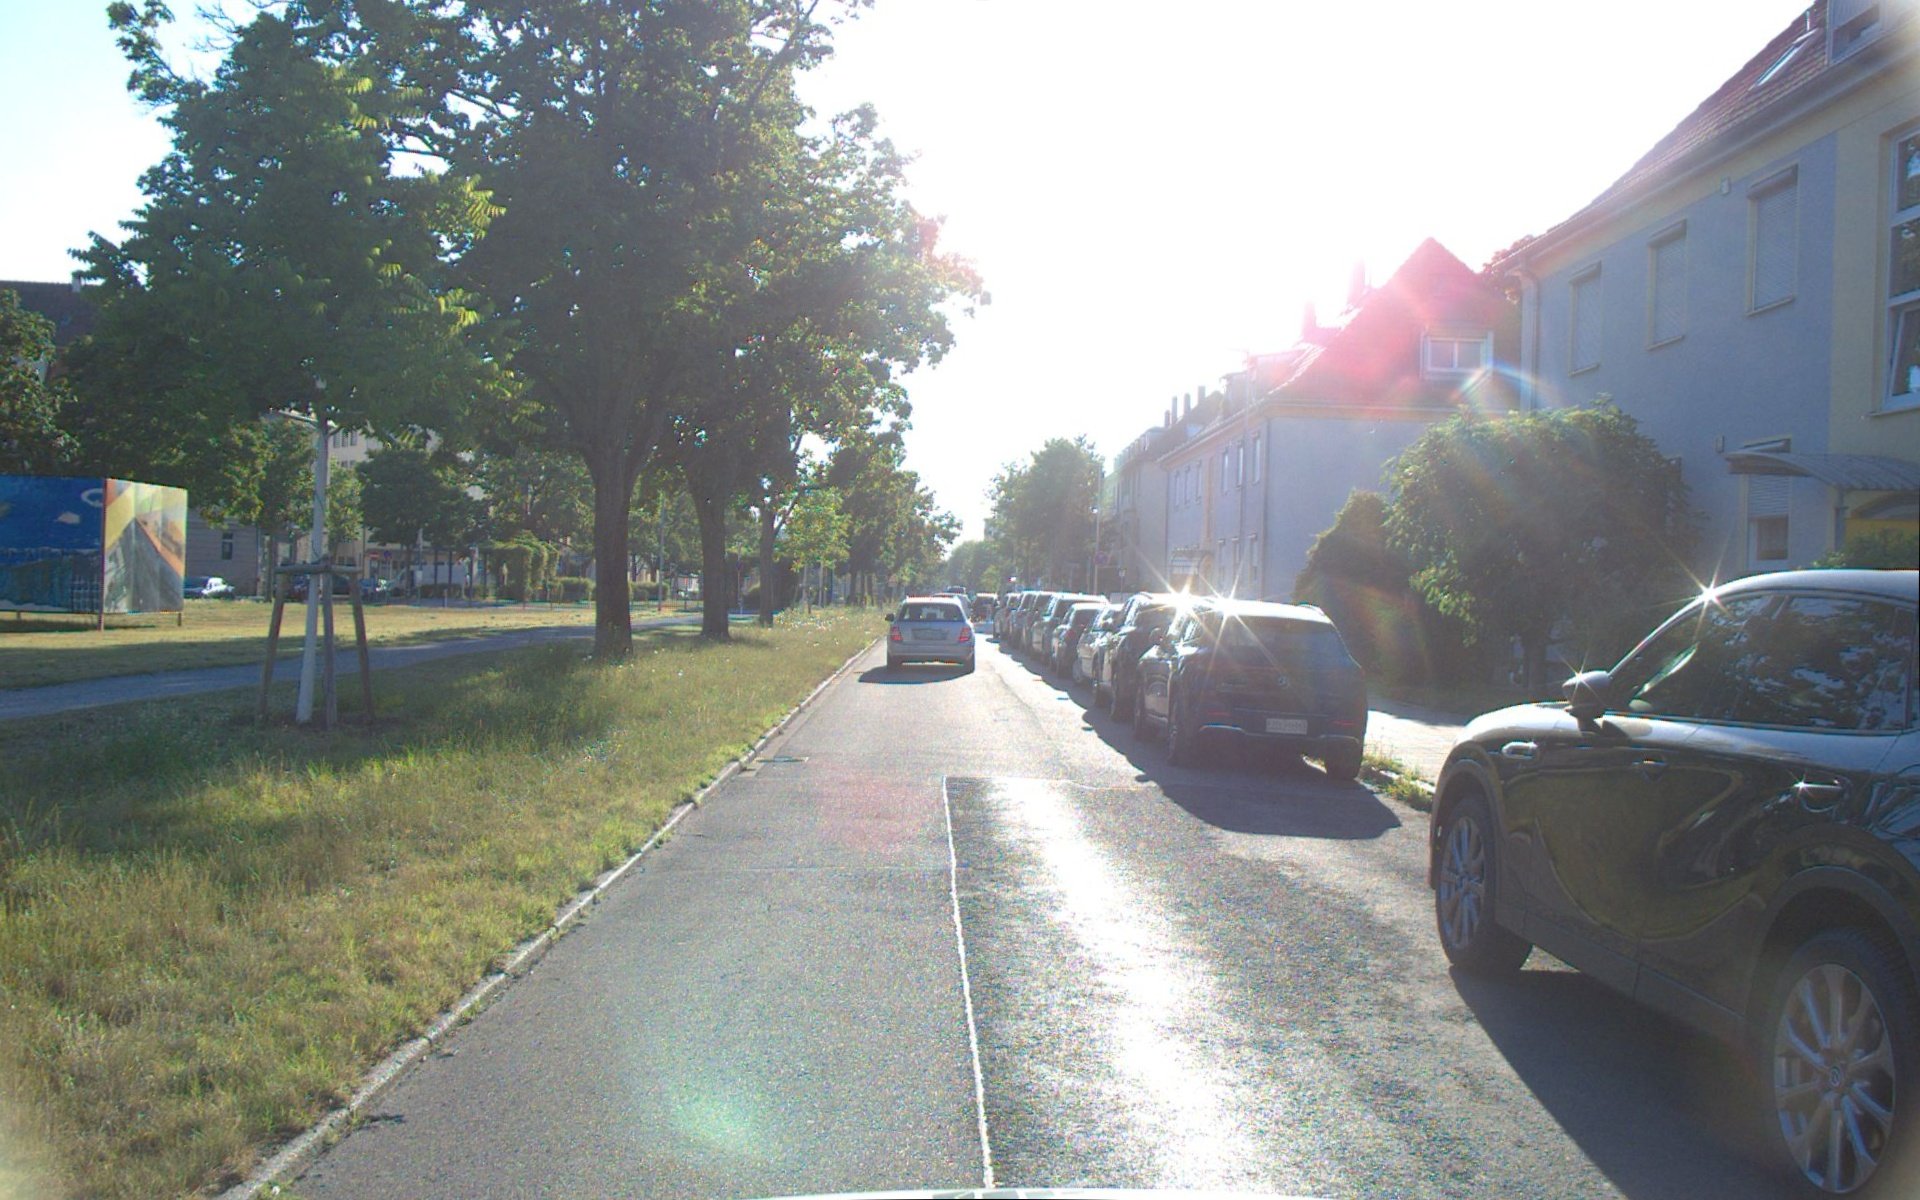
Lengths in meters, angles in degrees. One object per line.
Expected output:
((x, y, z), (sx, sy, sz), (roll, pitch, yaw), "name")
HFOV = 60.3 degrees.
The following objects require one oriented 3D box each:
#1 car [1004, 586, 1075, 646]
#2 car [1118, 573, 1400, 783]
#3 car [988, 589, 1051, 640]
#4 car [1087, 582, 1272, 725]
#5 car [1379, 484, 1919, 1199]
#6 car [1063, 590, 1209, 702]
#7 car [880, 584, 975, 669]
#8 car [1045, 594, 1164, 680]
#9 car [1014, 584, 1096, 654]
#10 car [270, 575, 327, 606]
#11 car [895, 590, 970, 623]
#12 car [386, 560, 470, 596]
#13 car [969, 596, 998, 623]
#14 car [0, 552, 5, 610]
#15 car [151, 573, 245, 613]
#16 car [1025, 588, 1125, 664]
((2.326, 0.471, 49.290), (1.741, 1.672, 4.755), (1, 0, -1), "car")
((2.922, 0.696, 17.217), (1.894, 1.750, 4.620), (4, 0, -1), "car")
((2.116, 0.500, 59.732), (1.683, 1.667, 4.560), (4, 0, -4), "car")
((2.913, 0.645, 22.930), (1.816, 1.686, 4.819), (3, 0, -1), "car")
((3.061, 0.686, 5.623), (1.796, 1.762, 5.030), (4, -1, -1), "car")
((2.904, 0.746, 28.187), (1.694, 1.575, 4.205), (6, -1, -3), "car")
((-0.625, 0.479, 33.359), (1.786, 1.594, 4.000), (1, 0, 0), "car")
((2.809, 0.691, 33.130), (1.953, 1.487, 4.561), (3, 0, 0), "car")
((2.470, 0.506, 44.109), (1.730, 1.663, 4.763), (3, -1, -1), "car")
((-40.052, -0.552, 100.235), (1.610, 1.737, 4.293), (-2, -1, 0), "car")
((-1.464, 0.348, 88.308), (3.811, 1.624, 2.001), (-2, -1, 4), "car")
((-43.098, -1.769, 134.040), (6.232, 2.767, 1.981), (2, 0, -32), "car")
((1.443, 0.639, 103.606), (1.686, 1.625, 3.999), (1, -1, -1), "car")
((-34.063, -0.672, 54.816), (1.979, 2.036, 5.366), (-2, -1, -4), "car")
((-34.418, -0.304, 74.861), (1.942, 1.665, 4.828), (-2, -1, 1), "car")
((2.595, 0.552, 38.303), (1.690, 1.588, 4.413), (2, 0, -4), "car")
